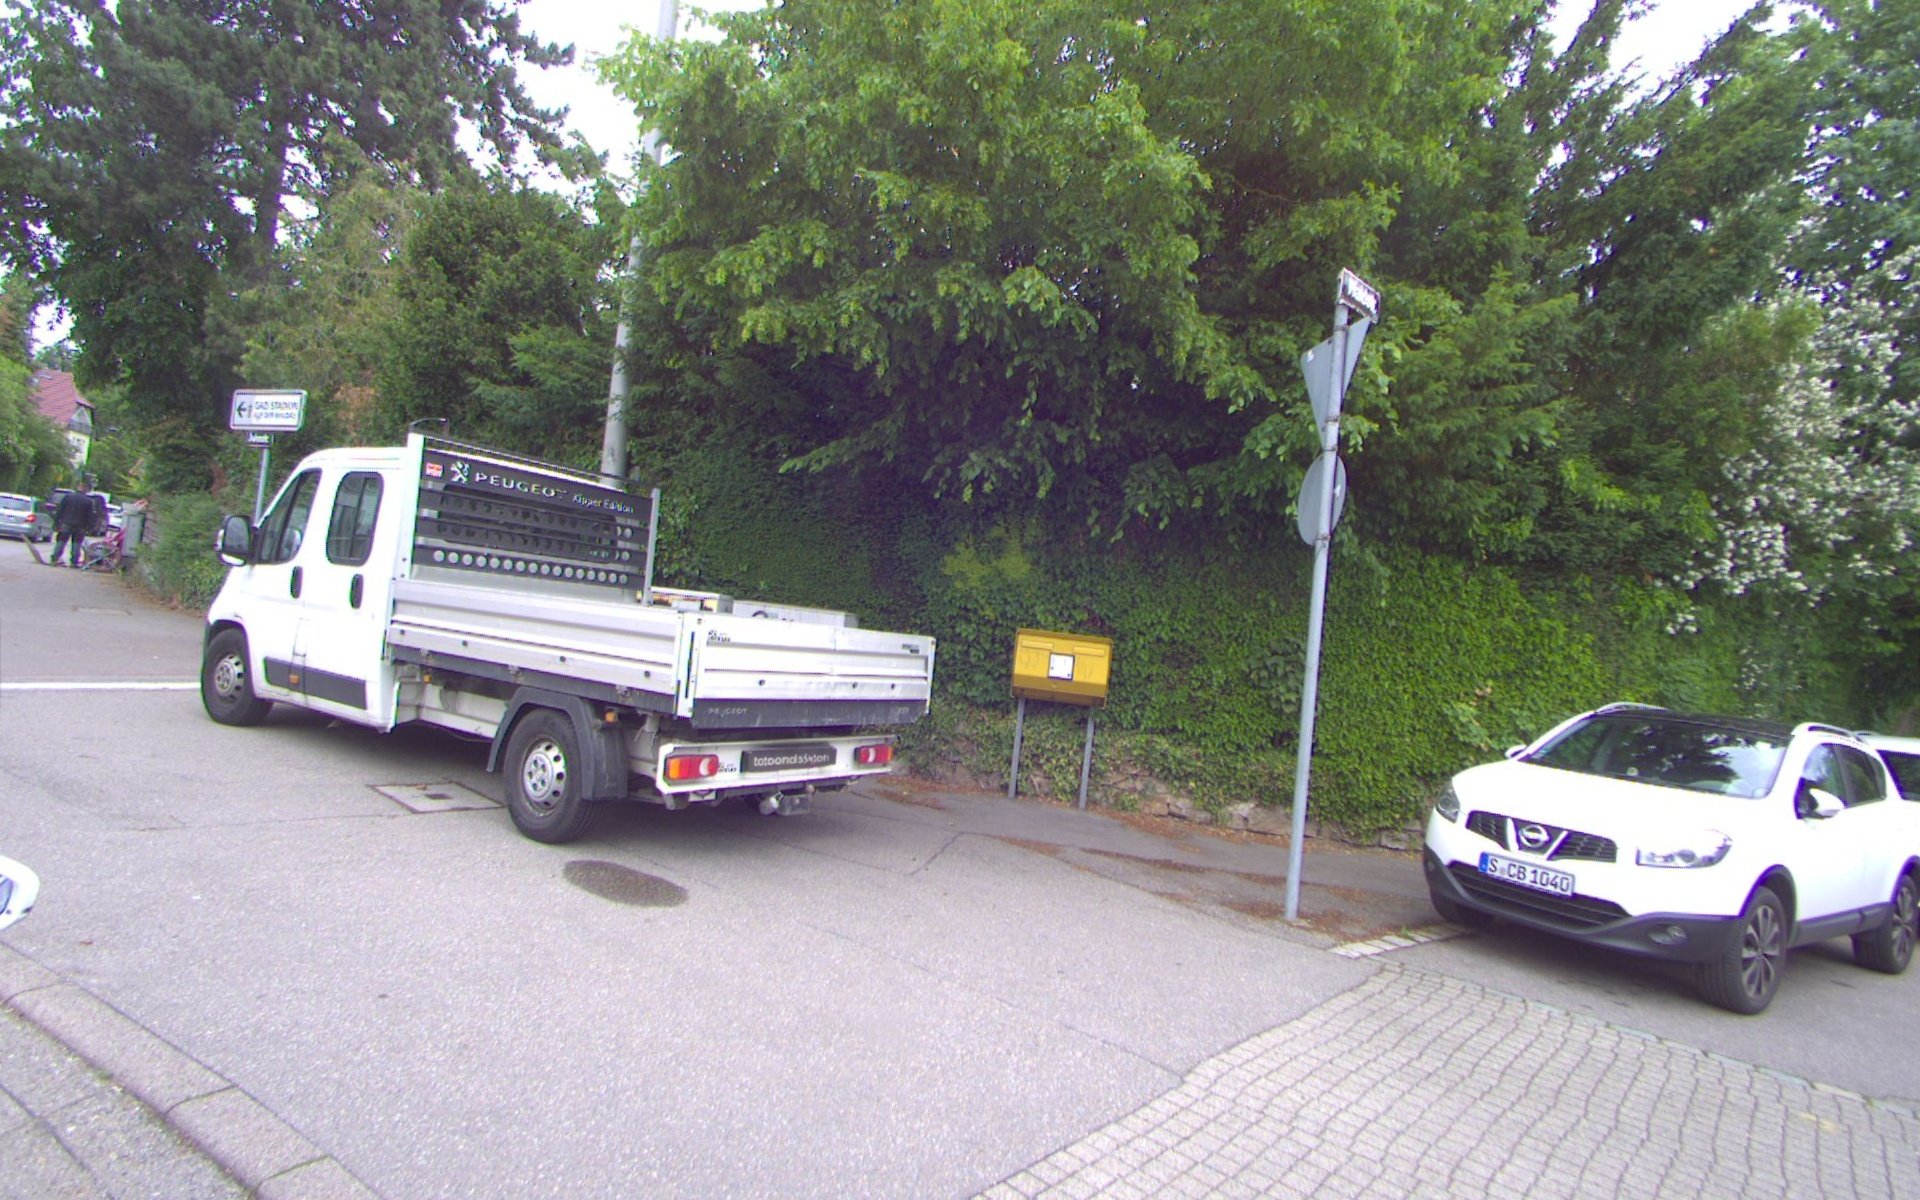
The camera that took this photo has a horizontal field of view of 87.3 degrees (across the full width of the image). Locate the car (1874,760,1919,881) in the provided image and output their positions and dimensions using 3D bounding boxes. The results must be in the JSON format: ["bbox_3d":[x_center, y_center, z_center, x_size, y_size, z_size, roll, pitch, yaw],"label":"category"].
[{"bbox_3d":[13.892,3.042,13.457,4.040,1.440,1.781,8,-2,-38],"label":"car"}]

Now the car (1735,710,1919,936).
[{"bbox_3d":[9.068,2.083,9.487,4.041,1.641,1.780,9,-3,-38],"label":"car"}]

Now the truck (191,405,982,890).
[{"bbox_3d":[-2.913,0.073,7.175,5.631,2.270,2.211,6,-2,34],"label":"truck"}]
